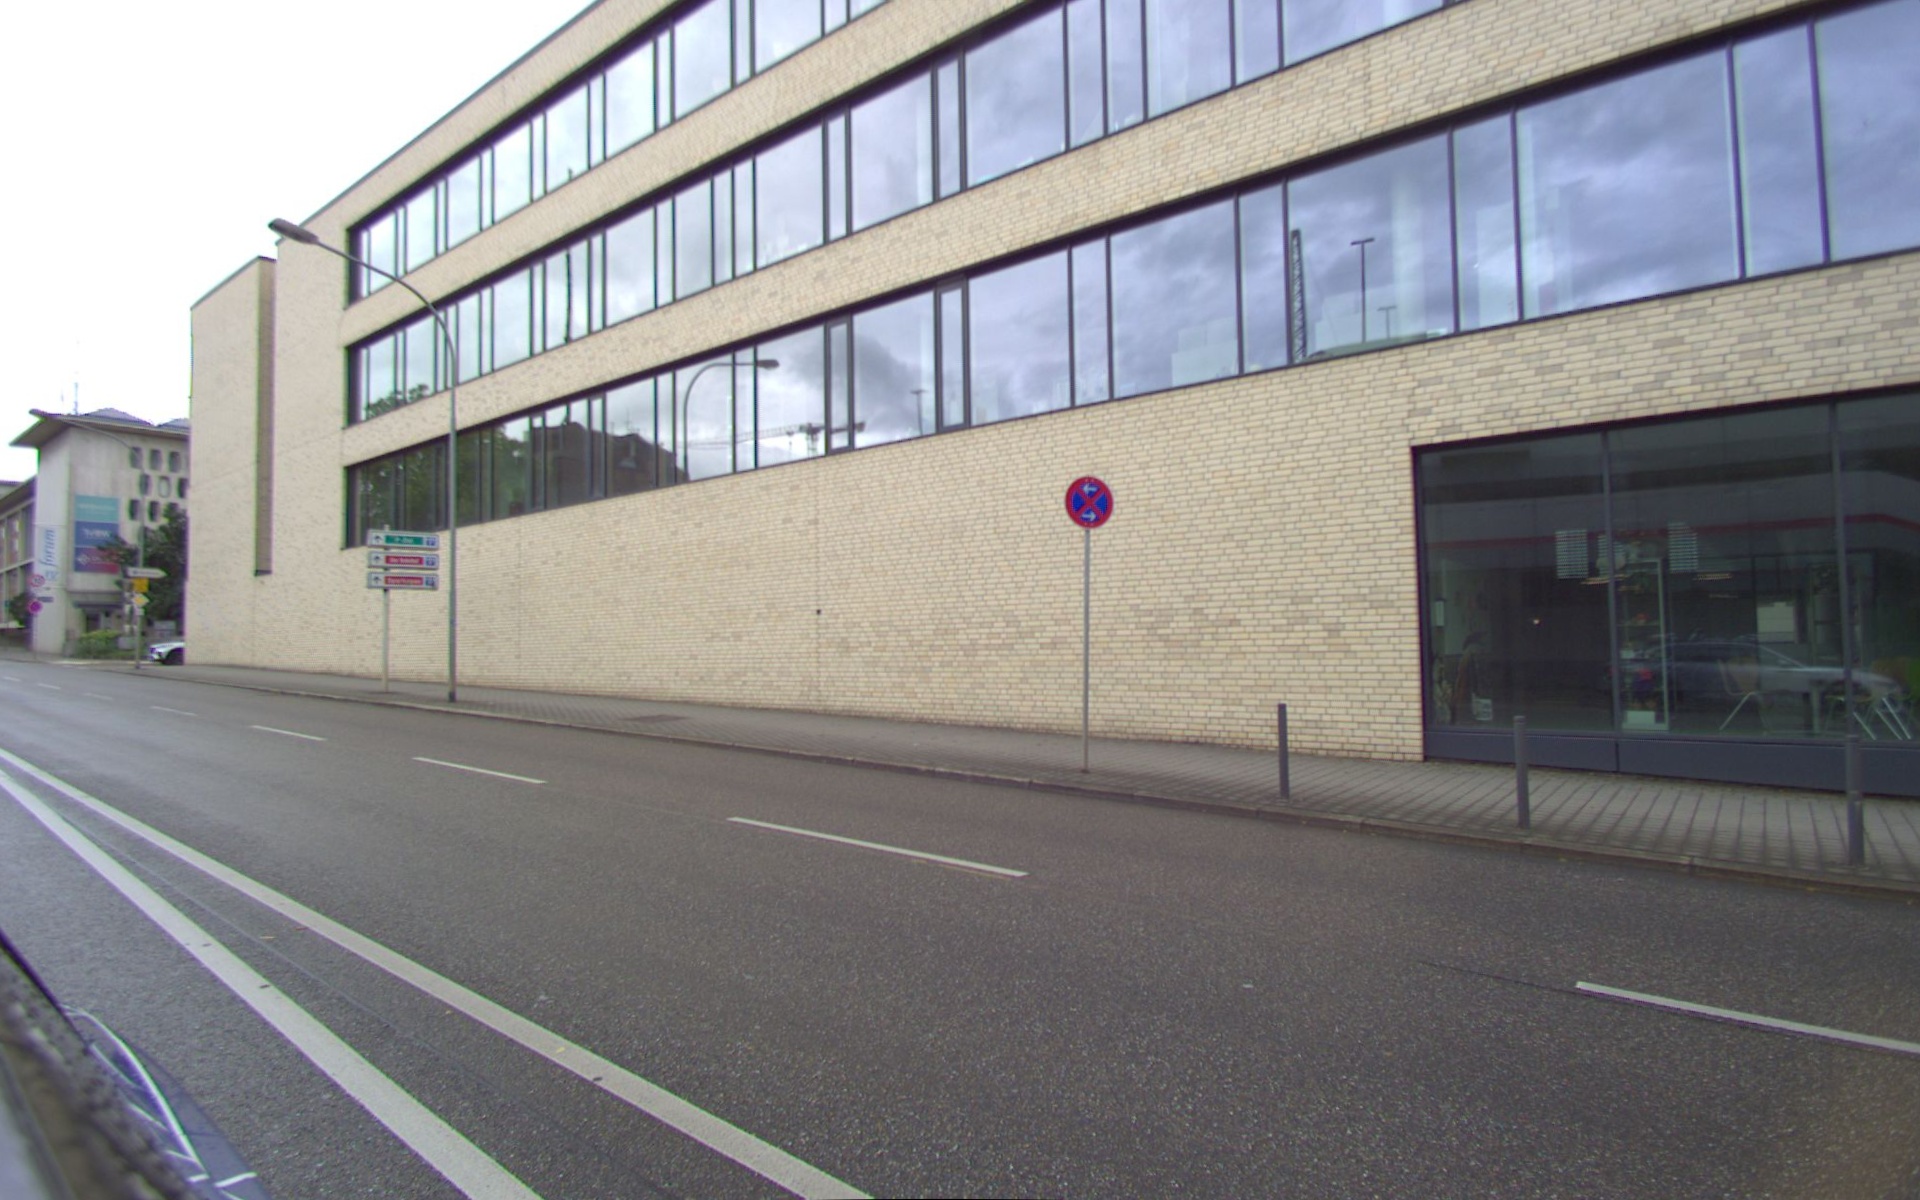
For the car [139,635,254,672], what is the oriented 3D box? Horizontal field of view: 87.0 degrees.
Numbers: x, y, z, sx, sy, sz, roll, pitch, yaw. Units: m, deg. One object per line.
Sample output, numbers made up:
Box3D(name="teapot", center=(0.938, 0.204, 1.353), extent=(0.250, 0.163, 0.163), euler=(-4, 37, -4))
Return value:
Box3D(name="car", center=(-36.053, 2.503, 47.872), extent=(1.798, 1.537, 4.006), euler=(-2, -1, 36))
